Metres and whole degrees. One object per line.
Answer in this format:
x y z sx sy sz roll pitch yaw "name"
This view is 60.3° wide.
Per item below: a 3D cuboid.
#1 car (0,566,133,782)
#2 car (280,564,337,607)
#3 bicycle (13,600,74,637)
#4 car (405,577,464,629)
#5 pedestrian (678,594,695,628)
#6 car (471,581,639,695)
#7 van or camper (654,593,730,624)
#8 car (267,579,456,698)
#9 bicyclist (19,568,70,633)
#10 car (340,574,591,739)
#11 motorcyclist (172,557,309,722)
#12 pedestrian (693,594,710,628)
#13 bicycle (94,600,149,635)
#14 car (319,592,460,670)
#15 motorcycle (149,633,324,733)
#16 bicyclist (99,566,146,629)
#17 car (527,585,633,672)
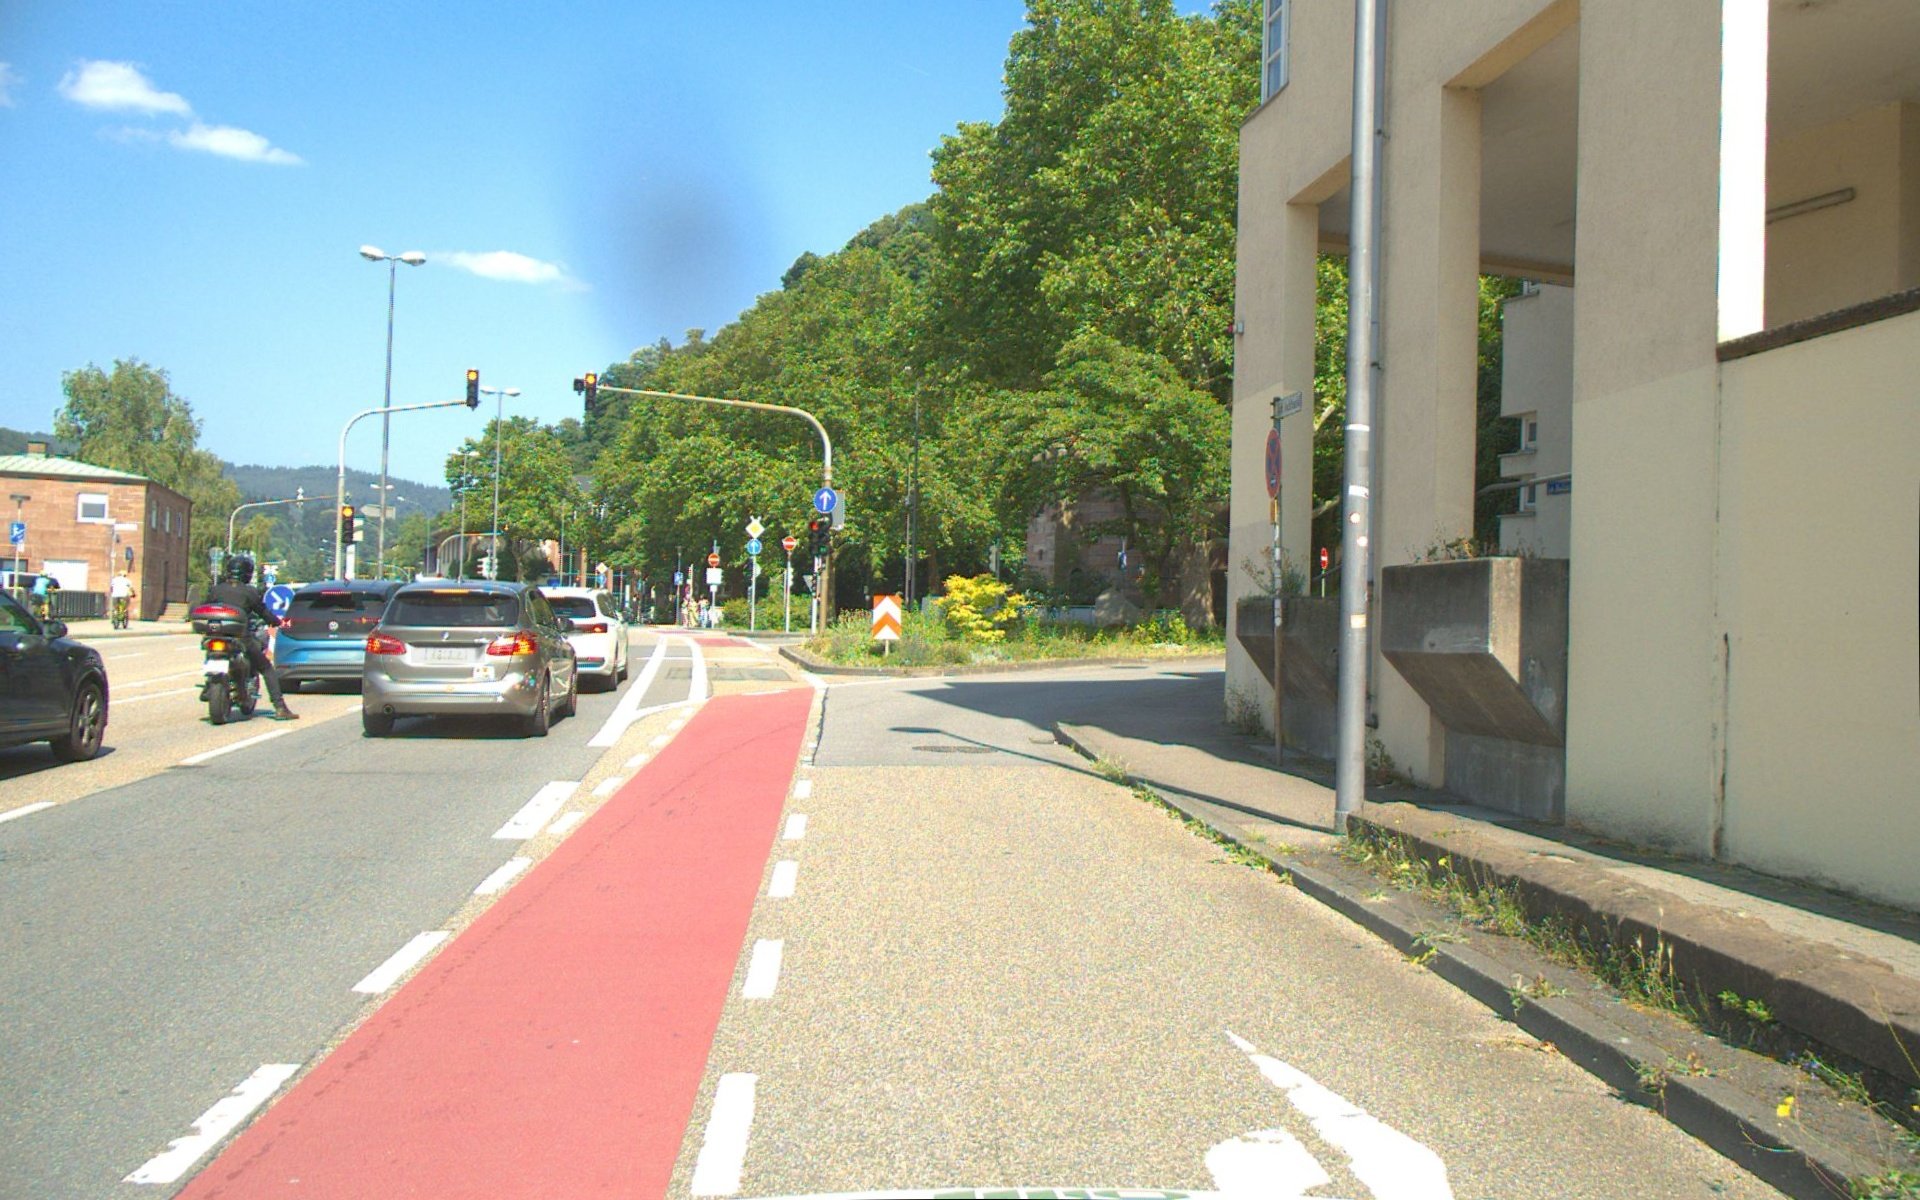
-7.843 0.510 12.247 1.834 1.540 4.143 1 0 -8 "car"
-32.923 -0.734 83.719 2.178 2.115 5.021 0 1 -16 "car"
-29.075 0.565 52.520 1.193 1.109 2.585 0 0 -17 "bicycle"
-27.228 0.144 85.559 2.351 2.621 6.012 0 0 -23 "car"
-14.285 0.560 86.282 0.746 1.749 0.795 0 0 -1 "pedestrian"
-6.050 0.508 25.239 1.956 1.560 4.850 0 0 -8 "car"
-17.480 0.539 107.930 4.445 1.935 2.002 0 0 9 "van or camper"
-8.663 0.508 24.263 1.832 1.589 3.992 1 0 -9 "car"
-29.116 0.025 52.628 1.193 2.049 1.113 0 0 -17 "bicyclist"
-5.198 0.544 17.951 1.852 1.548 4.299 1 0 -7 "car"
-7.753 0.414 17.880 1.055 1.714 1.154 1 0 -7 "motorcyclist"
-13.500 0.558 86.282 0.746 1.738 0.877 0 0 -1 "pedestrian"
-27.844 0.564 54.982 1.193 1.109 2.585 0 0 -17 "bicycle"
-10.852 0.555 31.697 1.832 1.382 3.992 1 0 -9 "car"
-7.811 0.866 18.028 1.018 0.935 2.601 1 0 -7 "motorcycle"
-27.854 -0.086 55.036 1.193 2.049 1.113 0 0 -17 "bicyclist"
-7.326 0.519 32.251 1.753 1.559 4.725 0 0 -10 "car"
